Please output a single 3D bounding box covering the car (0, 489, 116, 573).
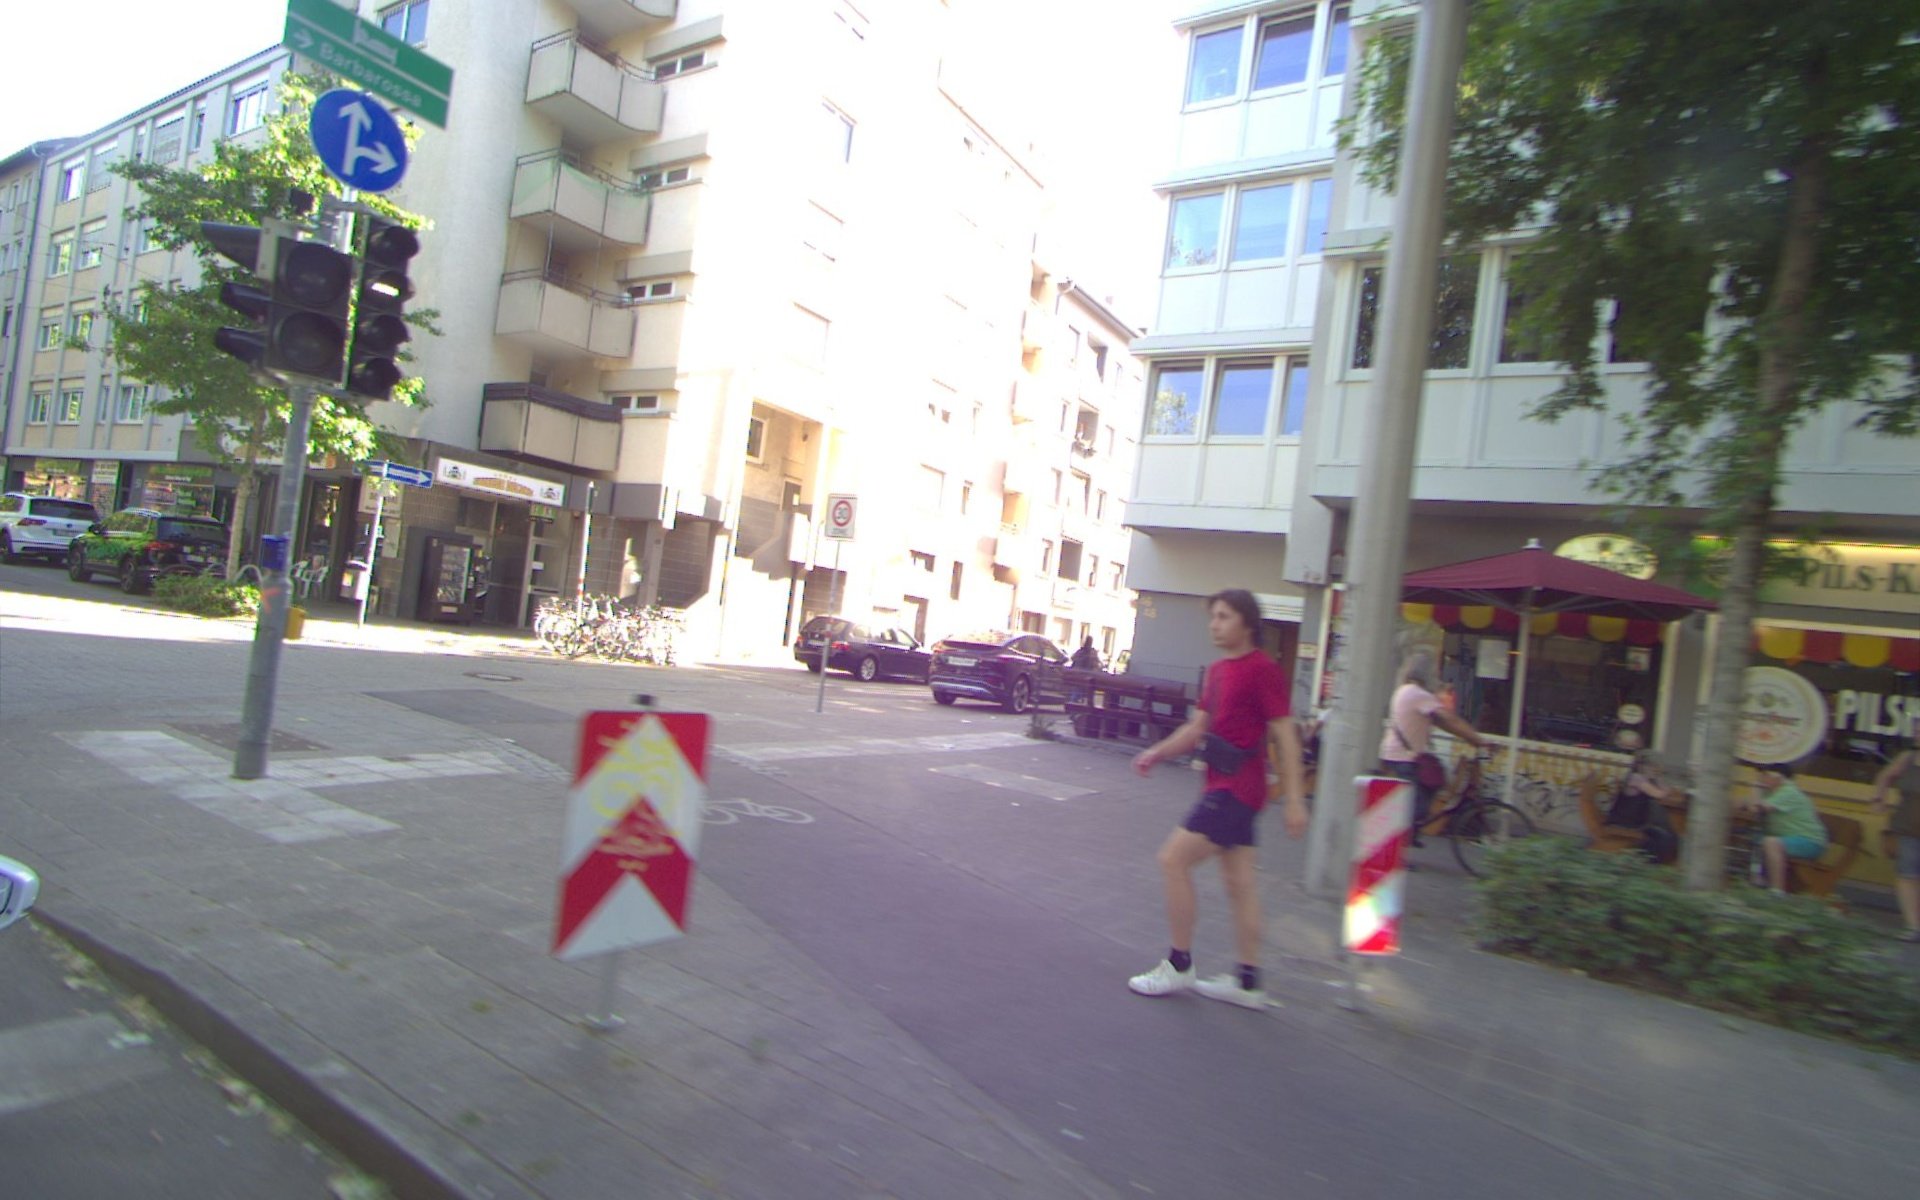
[{"bbox_3d":[-22.455,-1.730,24.375,4.344,1.624,1.803,6,-3,34],"label":"car"}]

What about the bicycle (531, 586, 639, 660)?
[{"bbox_3d":[-7.076,0.468,19.068,0.502,1.222,1.918,7,-1,30],"label":"bicycle"}]

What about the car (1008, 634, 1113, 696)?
[{"bbox_3d":[3.476,2.250,34.158,1.806,1.640,4.069,6,-3,32],"label":"car"}]

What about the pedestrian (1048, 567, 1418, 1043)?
[{"bbox_3d":[1.137,0.834,4.332,1.033,1.778,0.875,8,-2,-20],"label":"pedestrian"}]

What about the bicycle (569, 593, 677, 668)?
[{"bbox_3d":[-6.178,0.590,18.554,0.502,1.222,1.918,8,-1,30],"label":"bicycle"}]

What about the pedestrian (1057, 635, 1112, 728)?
[{"bbox_3d":[2.251,1.466,18.140,0.635,1.579,0.551,5,-3,38],"label":"pedestrian"}]

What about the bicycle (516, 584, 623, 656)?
[{"bbox_3d":[-7.503,0.412,19.409,0.502,1.222,1.918,7,-1,30],"label":"bicycle"}]

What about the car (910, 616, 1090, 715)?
[{"bbox_3d":[0.945,1.399,20.419,1.933,1.609,4.263,5,-3,27],"label":"car"}]

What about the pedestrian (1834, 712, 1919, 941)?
[{"bbox_3d":[7.617,1.791,7.918,0.802,1.677,0.677,8,-2,-18],"label":"pedestrian"}]

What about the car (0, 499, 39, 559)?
[{"bbox_3d":[-27.006,-2.105,27.426,4.179,1.456,1.747,6,-3,34],"label":"car"}]

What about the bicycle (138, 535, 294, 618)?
[{"bbox_3d":[-13.828,-0.411,18.755,0.671,1.200,2.125,6,-3,41],"label":"bicycle"}]

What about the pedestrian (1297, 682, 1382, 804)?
[{"bbox_3d":[4.473,1.676,11.852,0.704,1.302,0.536,6,-2,35],"label":"pedestrian"}]

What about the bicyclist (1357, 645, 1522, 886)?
[{"bbox_3d":[3.912,1.309,8.205,0.950,1.736,0.677,6,-2,36],"label":"bicyclist"}]

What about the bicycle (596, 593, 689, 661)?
[{"bbox_3d":[-6.690,0.602,21.312,0.502,1.221,1.919,6,-3,29],"label":"bicycle"}]

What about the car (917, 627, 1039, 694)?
[{"bbox_3d":[0.606,1.826,29.672,1.679,1.526,3.996,6,-3,32],"label":"car"}]

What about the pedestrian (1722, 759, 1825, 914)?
[{"bbox_3d":[7.080,2.030,8.783,0.513,1.188,0.660,6,-2,31],"label":"pedestrian"}]

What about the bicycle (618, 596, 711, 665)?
[{"bbox_3d":[-6.132,0.664,20.979,0.502,1.221,1.919,6,-3,29],"label":"bicycle"}]

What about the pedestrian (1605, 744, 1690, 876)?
[{"bbox_3d":[6.364,1.921,9.337,0.513,1.091,0.643,6,-2,31],"label":"pedestrian"}]

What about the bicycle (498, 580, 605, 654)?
[{"bbox_3d":[-7.952,0.361,19.690,0.502,1.221,1.919,6,-3,29],"label":"bicycle"}]

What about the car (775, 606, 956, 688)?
[{"bbox_3d":[-2.234,1.225,25.063,1.840,1.495,4.591,9,-1,34],"label":"car"}]

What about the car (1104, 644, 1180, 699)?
[{"bbox_3d":[7.365,2.914,40.504,1.694,1.836,3.562,6,-3,31],"label":"car"}]

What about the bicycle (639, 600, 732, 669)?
[{"bbox_3d":[-5.613,0.730,20.680,0.502,1.221,1.919,8,-2,30],"label":"bicycle"}]

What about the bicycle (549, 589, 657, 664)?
[{"bbox_3d":[-6.628,0.519,18.796,0.502,1.222,1.918,8,-1,30],"label":"bicycle"}]

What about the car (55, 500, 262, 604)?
[{"bbox_3d":[-16.542,-1.010,20.713,4.374,1.634,1.996,6,-2,34],"label":"car"}]

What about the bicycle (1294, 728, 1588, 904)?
[{"bbox_3d":[3.874,1.689,8.185,1.991,0.974,0.678,6,-3,36],"label":"bicycle"}]
